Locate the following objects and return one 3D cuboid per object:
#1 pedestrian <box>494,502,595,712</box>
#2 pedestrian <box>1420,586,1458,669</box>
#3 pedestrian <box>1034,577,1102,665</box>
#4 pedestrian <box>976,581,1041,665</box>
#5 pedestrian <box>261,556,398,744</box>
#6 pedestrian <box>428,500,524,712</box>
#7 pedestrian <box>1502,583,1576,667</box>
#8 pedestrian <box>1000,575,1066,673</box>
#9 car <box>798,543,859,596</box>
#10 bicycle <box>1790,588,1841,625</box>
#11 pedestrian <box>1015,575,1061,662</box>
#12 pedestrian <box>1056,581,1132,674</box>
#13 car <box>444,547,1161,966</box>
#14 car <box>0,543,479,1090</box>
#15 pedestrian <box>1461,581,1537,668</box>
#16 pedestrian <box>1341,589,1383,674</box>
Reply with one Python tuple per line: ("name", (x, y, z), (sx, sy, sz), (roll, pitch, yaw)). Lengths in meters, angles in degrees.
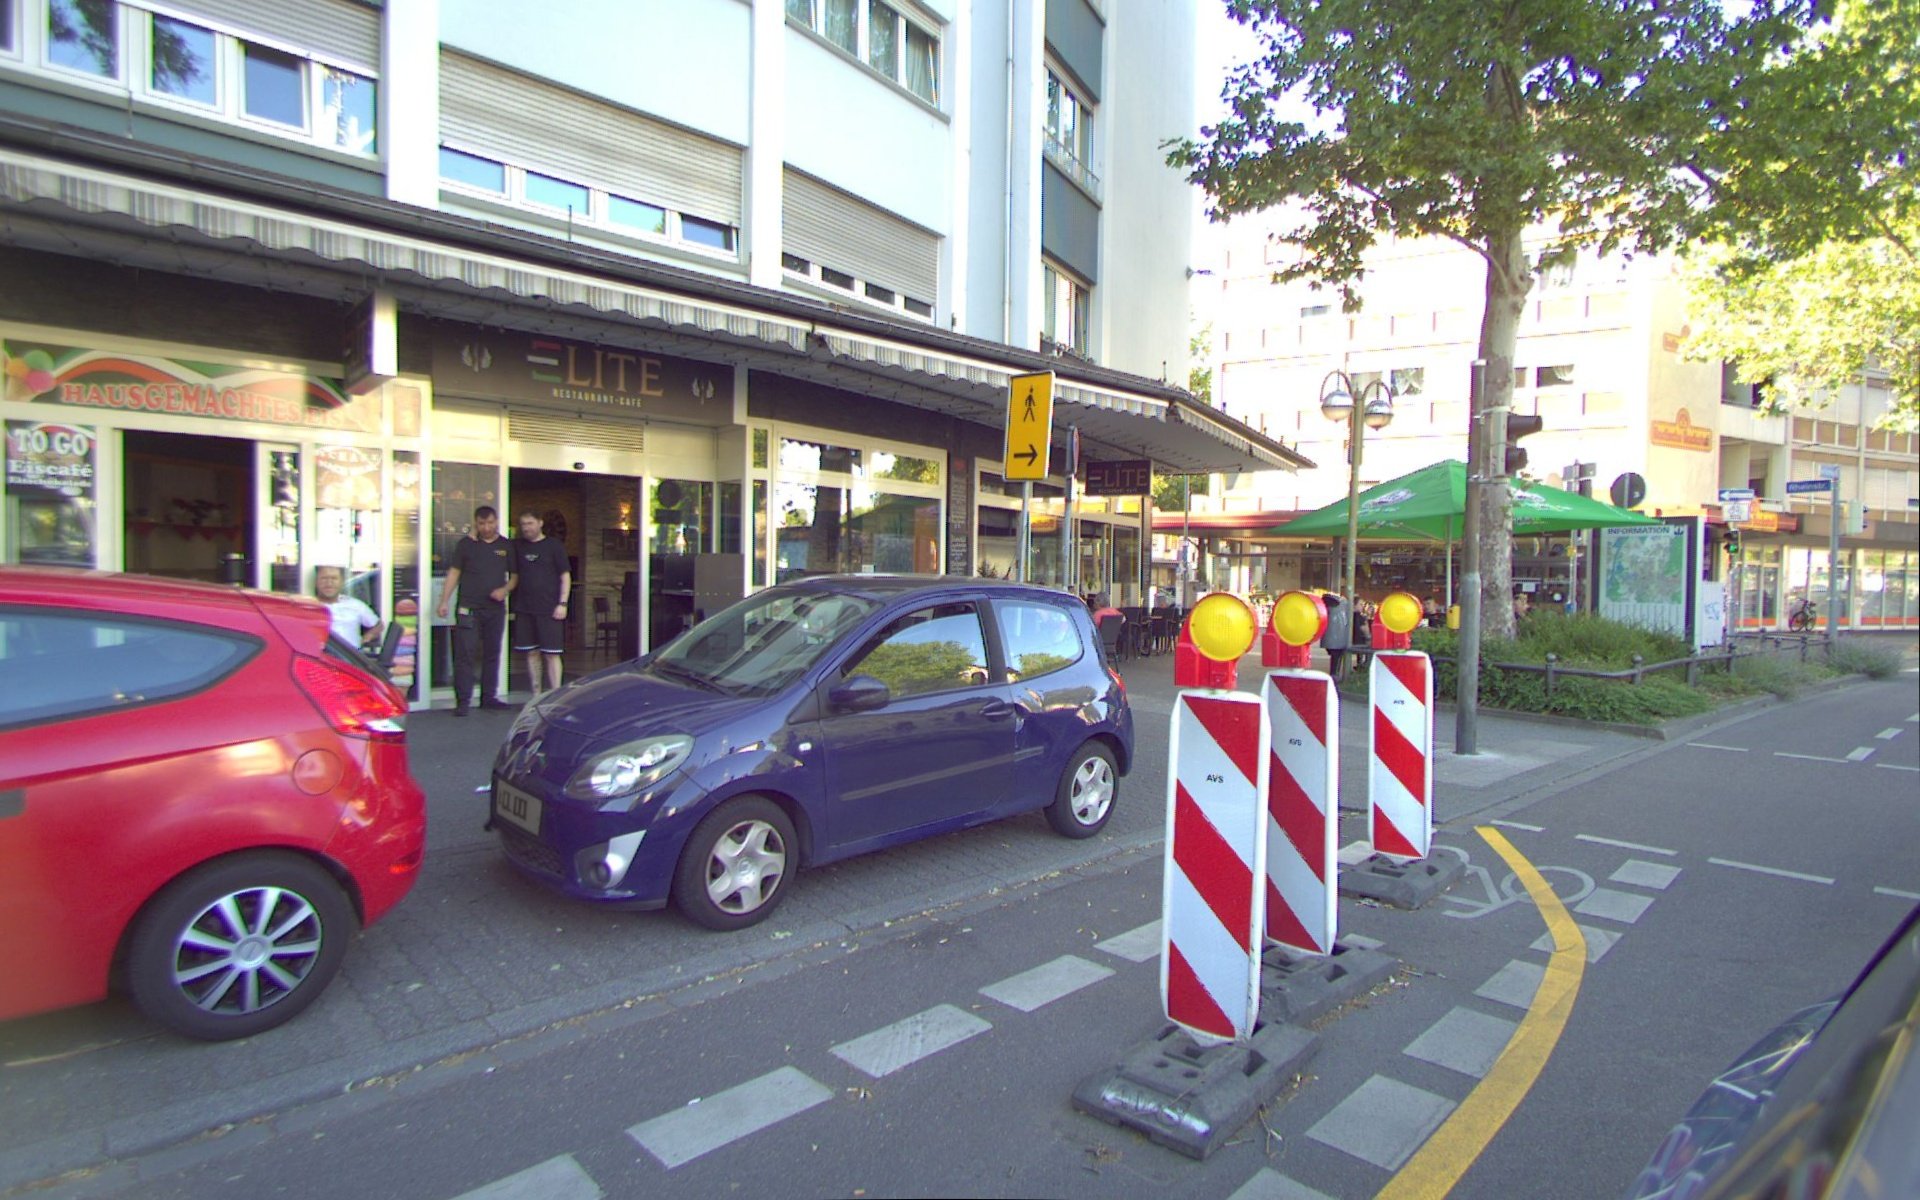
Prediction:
("pedestrian", (-3.698, 0.044, 8.998), (0.635, 1.780, 0.612), (1, 3, -38))
("pedestrian", (7.458, 0.417, 15.773), (0.427, 1.234, 0.465), (3, 2, 20))
("pedestrian", (1.589, 0.296, 14.920), (0.664, 1.233, 0.706), (3, 1, 43))
("pedestrian", (0.705, 0.320, 14.658), (0.710, 1.144, 0.645), (3, 1, 25))
("pedestrian", (-4.820, 0.321, 7.713), (0.765, 1.247, 1.207), (-1, 5, -38))
("pedestrian", (-4.204, 0.038, 8.779), (0.587, 1.756, 0.589), (1, 3, -39))
("pedestrian", (9.271, 0.379, 16.226), (0.753, 1.301, 0.720), (0, 1, -28))
("pedestrian", (0.995, 0.313, 13.754), (0.644, 1.267, 0.711), (3, 1, 25))
("car", (-4.650, -1.070, 36.168), (1.960, 1.771, 4.004), (1, 1, -5))
("bicycle", (28.126, 0.210, 33.258), (1.933, 1.157, 0.530), (0, 1, -26))
("pedestrian", (1.168, 0.273, 15.280), (0.541, 1.259, 0.521), (2, 1, -7))
("pedestrian", (1.858, 0.366, 14.029), (0.838, 1.213, 0.644), (3, 1, 27))
("car", (-0.640, 0.532, 5.500), (3.545, 1.484, 1.621), (0, 4, -44))
("car", (-3.640, 0.565, 2.854), (1.667, 1.446, 3.786), (5, 4, 44))
("pedestrian", (8.420, 0.370, 15.824), (0.752, 1.301, 0.721), (0, 1, -27))
("pedestrian", (5.952, 0.450, 14.994), (0.460, 1.235, 0.432), (1, 0, 5))
